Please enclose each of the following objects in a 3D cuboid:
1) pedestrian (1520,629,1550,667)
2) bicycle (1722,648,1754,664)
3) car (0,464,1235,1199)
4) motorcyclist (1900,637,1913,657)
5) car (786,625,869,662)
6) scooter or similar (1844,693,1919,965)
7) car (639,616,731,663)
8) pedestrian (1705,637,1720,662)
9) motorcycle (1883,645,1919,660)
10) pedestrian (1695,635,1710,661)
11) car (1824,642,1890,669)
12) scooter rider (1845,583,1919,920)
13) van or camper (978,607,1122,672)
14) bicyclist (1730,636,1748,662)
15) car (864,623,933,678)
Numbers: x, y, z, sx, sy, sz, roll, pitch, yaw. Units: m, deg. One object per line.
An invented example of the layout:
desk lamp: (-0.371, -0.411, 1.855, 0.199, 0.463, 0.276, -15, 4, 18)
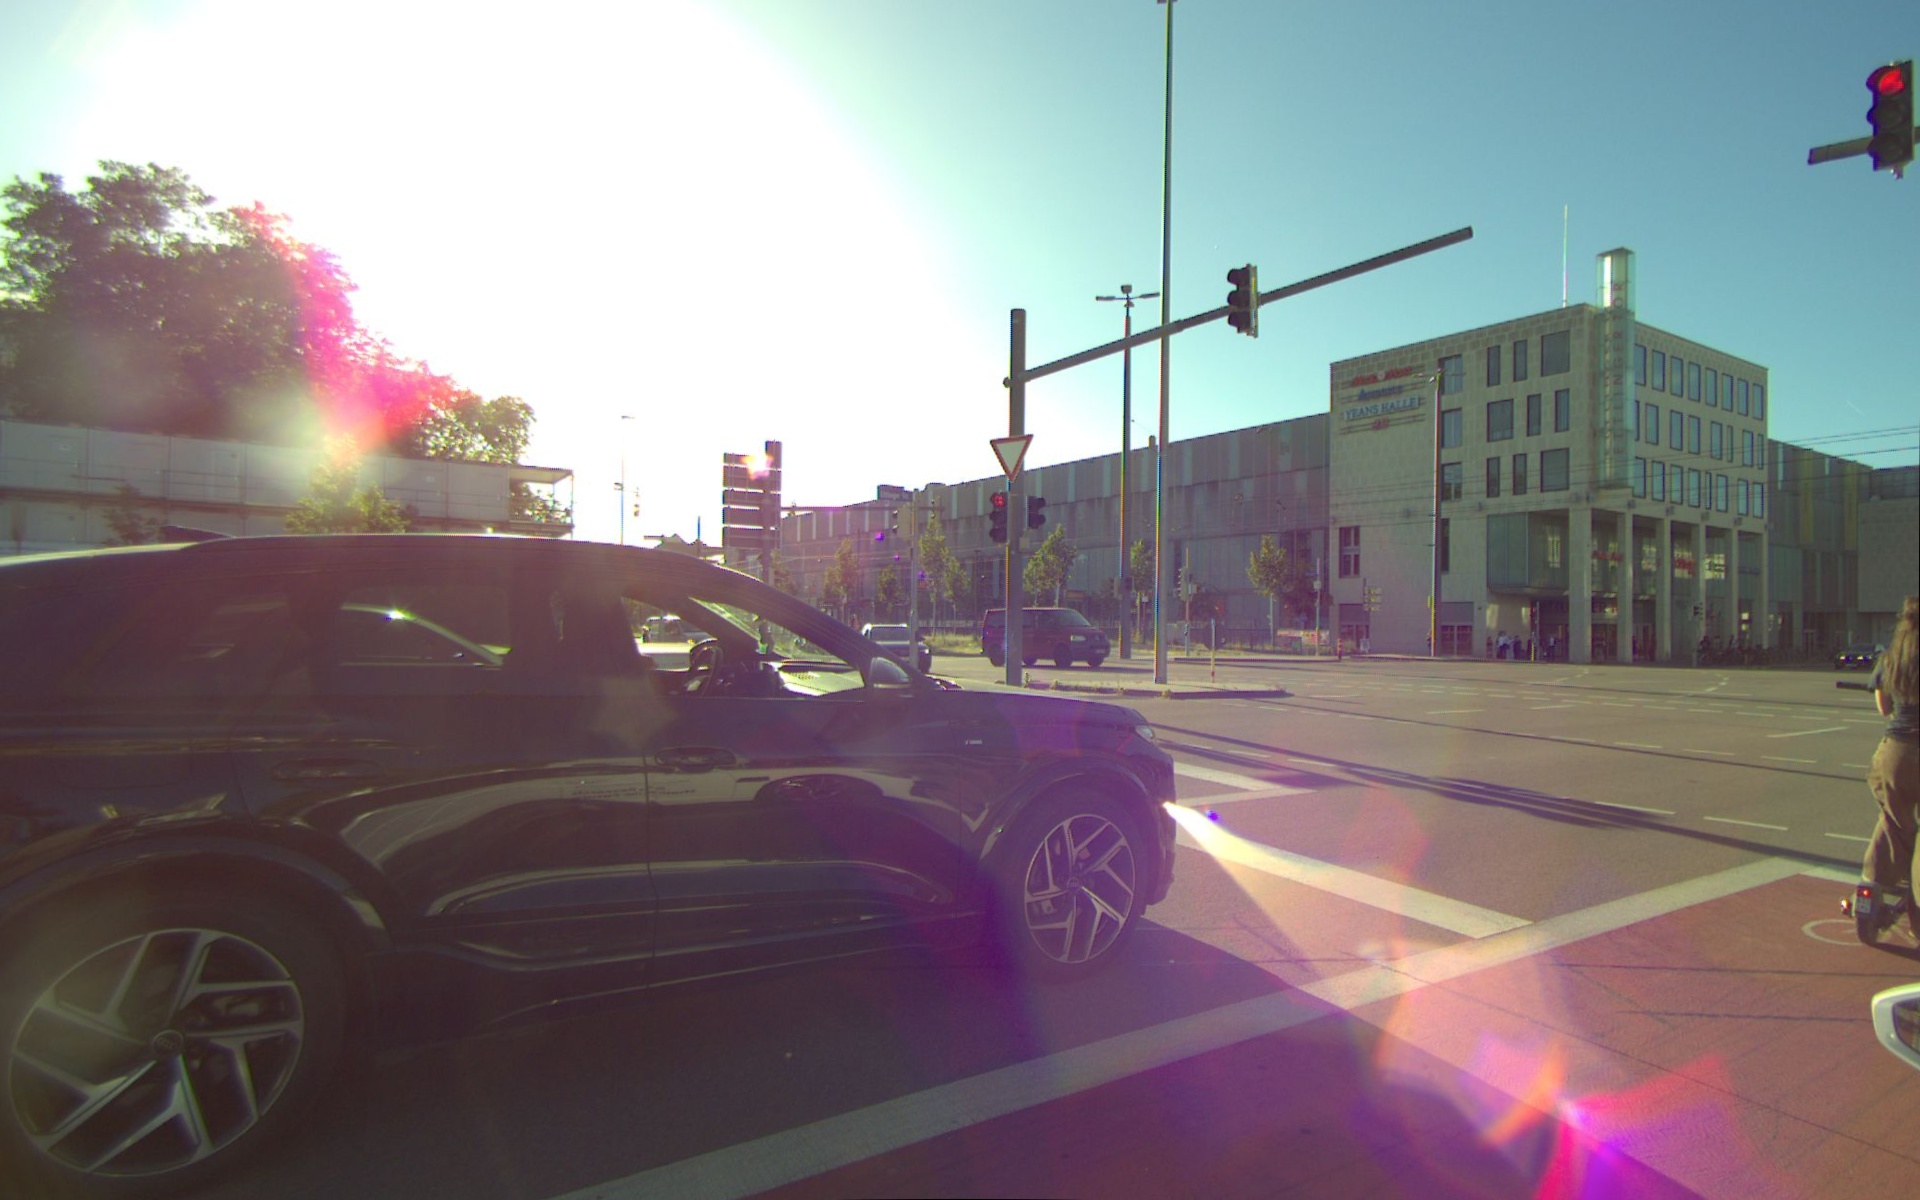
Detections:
pedestrian: (26.161, 2.193, 45.706, 0.994, 1.697, 0.818, 1, -1, -33)
bicycle: (44.559, 3.209, 57.531, 2.191, 0.915, 0.633, 1, -1, -29)
car: (-1.309, 0.603, 4.044, 4.614, 1.729, 2.153, 1, -1, -33)
motorcyclist: (71.009, 3.511, 75.342, 0.657, 1.424, 0.623, 2, 0, -38)
car: (-5.826, 1.864, 43.866, 1.660, 1.530, 3.824, 2, -2, -44)
scooter or similar: (4.383, 1.018, 4.674, 0.832, 1.122, 0.303, 2, -1, -42)
car: (-12.145, 1.682, 44.167, 1.875, 1.947, 4.869, 2, -2, -43)
pedestrian: (54.127, 3.543, 72.268, 0.681, 1.752, 0.472, 2, 0, 9)
motorcycle: (70.841, 3.964, 75.114, 1.106, 1.006, 2.582, 2, 0, -38)
pedestrian: (48.156, 3.112, 65.180, 0.622, 1.667, 0.589, 1, -1, -30)
car: (49.649, 3.054, 55.580, 3.975, 1.375, 1.668, 1, -1, -31)
scooter rider: (4.603, 0.701, 4.751, 0.445, 1.550, 0.548, 1, -1, -38)
van or camper: (2.970, 1.281, 33.927, 1.992, 2.040, 4.783, 2, -2, -42)
bicyclist: (44.649, 2.806, 57.591, 0.581, 1.467, 0.623, 1, -1, -28)
car: (-1.739, 1.434, 29.646, 1.846, 1.500, 3.980, 1, -1, -1)
